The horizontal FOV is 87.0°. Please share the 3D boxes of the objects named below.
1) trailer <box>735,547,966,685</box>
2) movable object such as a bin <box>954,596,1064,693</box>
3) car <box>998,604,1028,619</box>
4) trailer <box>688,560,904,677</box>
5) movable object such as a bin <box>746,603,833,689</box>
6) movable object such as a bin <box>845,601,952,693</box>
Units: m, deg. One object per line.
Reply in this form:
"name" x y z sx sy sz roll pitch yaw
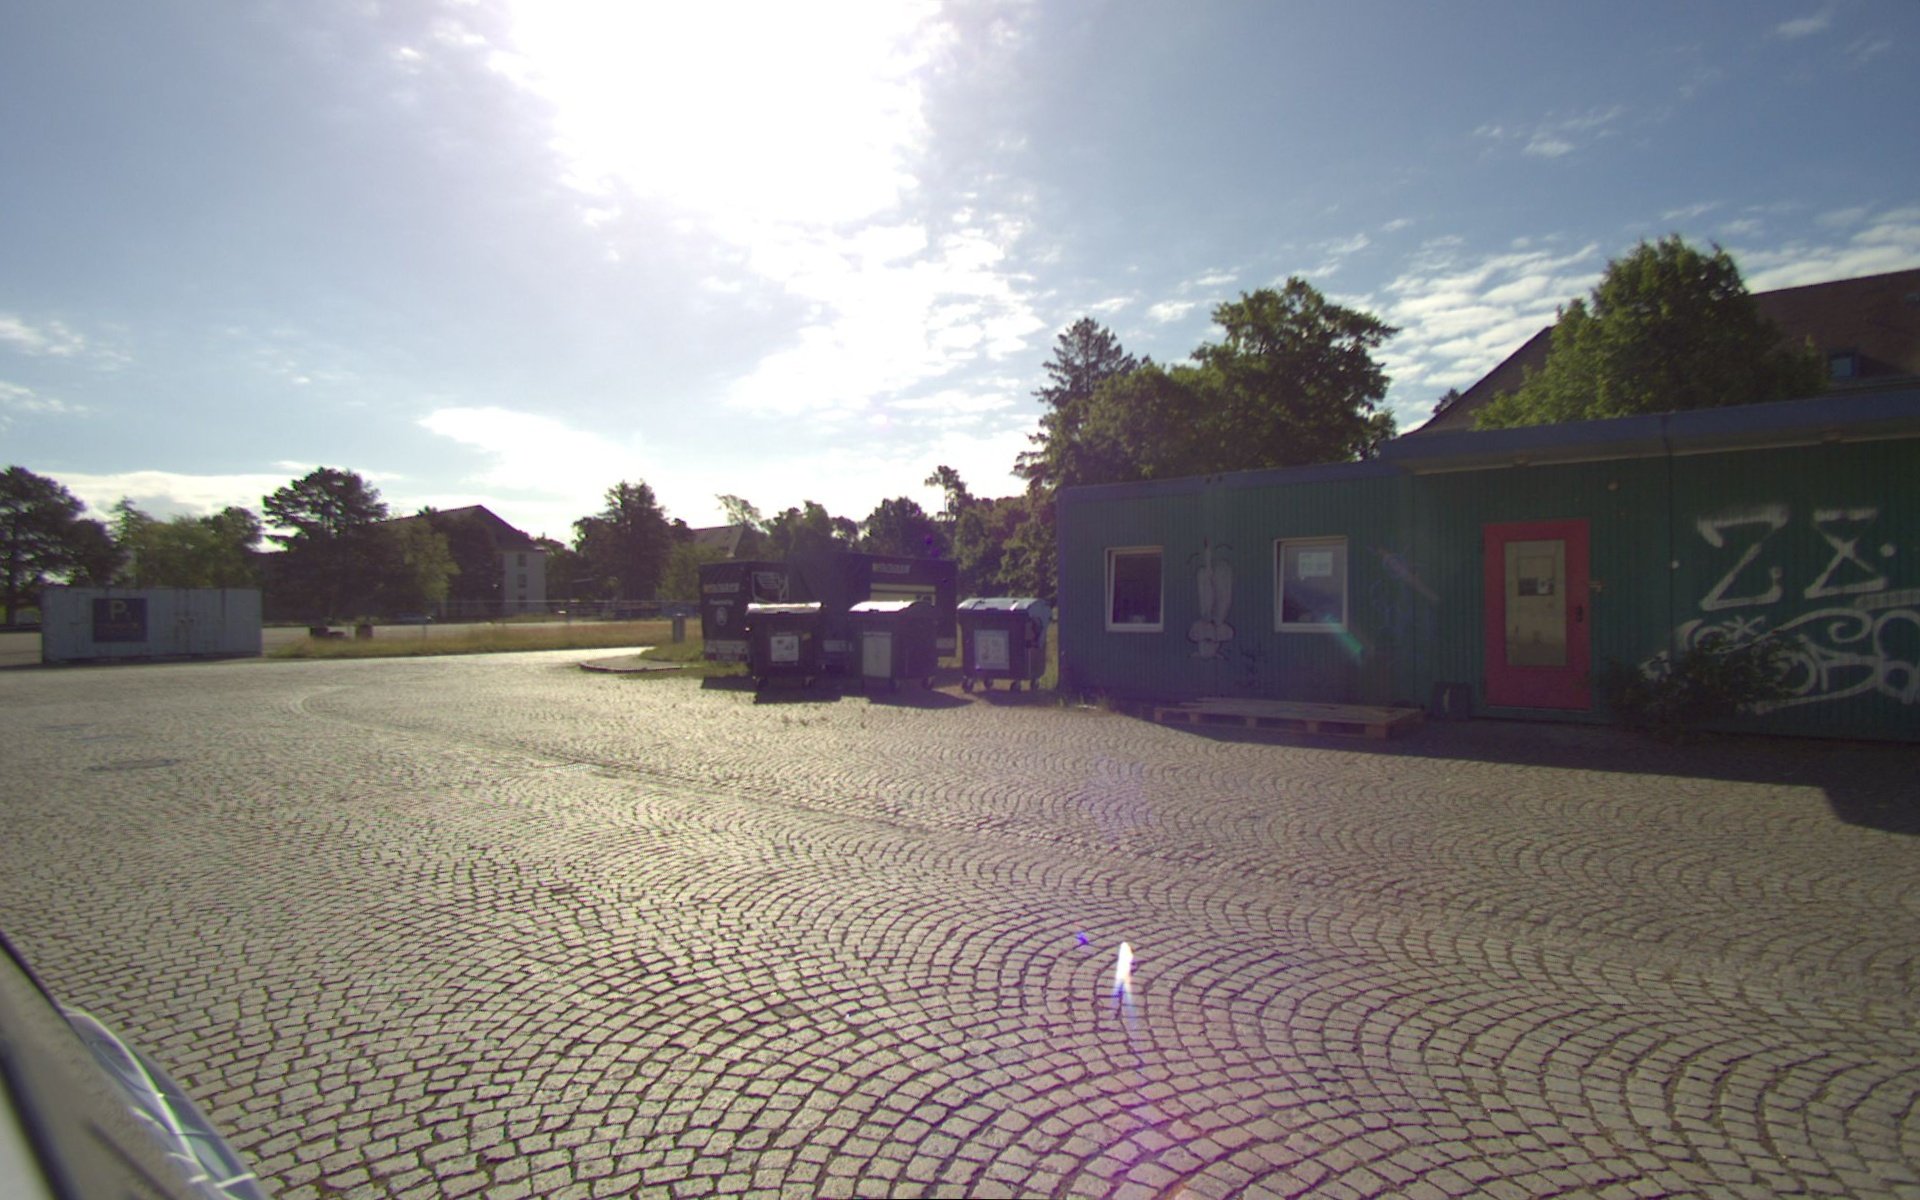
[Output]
"trailer" -2.020 0.241 20.202 1.938 2.409 4.799 -1 0 34
"movable object such as a bin" 0.780 0.673 15.870 1.402 1.447 1.078 -1 -1 28
"car" 6.605 1.479 126.346 1.994 1.829 3.955 -1 -1 33
"trailer" -3.479 0.318 22.163 2.012 2.290 4.409 -1 1 40
"movable object such as a bin" -2.875 0.761 17.230 1.344 1.396 1.048 -1 -1 -3
"movable object such as a bin" -0.993 0.726 16.258 1.369 1.396 1.068 -1 0 43
